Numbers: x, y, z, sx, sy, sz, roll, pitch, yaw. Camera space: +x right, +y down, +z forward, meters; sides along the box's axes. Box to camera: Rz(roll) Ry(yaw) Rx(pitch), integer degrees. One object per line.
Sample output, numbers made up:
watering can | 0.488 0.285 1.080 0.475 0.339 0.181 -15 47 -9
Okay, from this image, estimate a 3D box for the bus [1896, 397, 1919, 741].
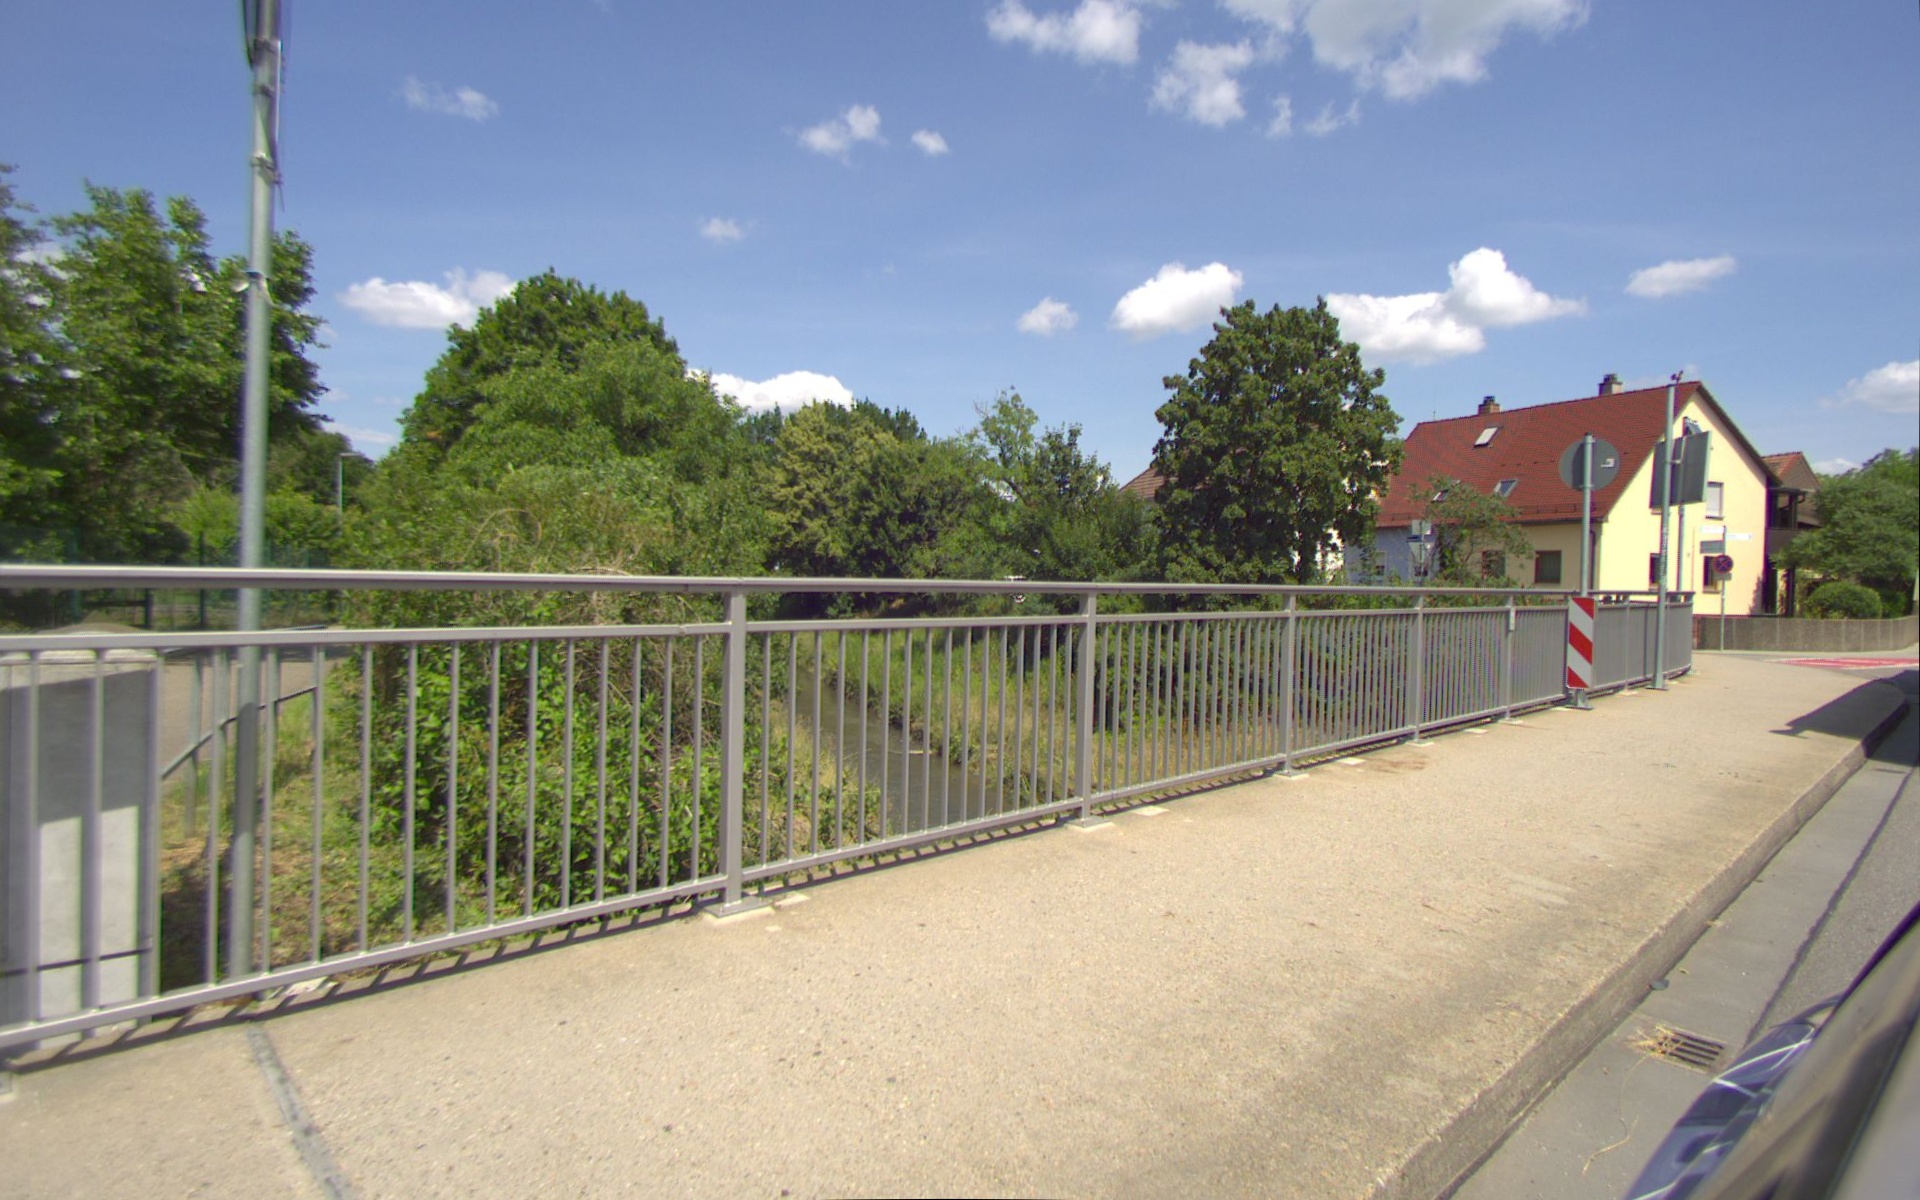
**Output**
bus | 12.683 -0.062 10.758 9.113 3.004 2.755 2 1 -40
